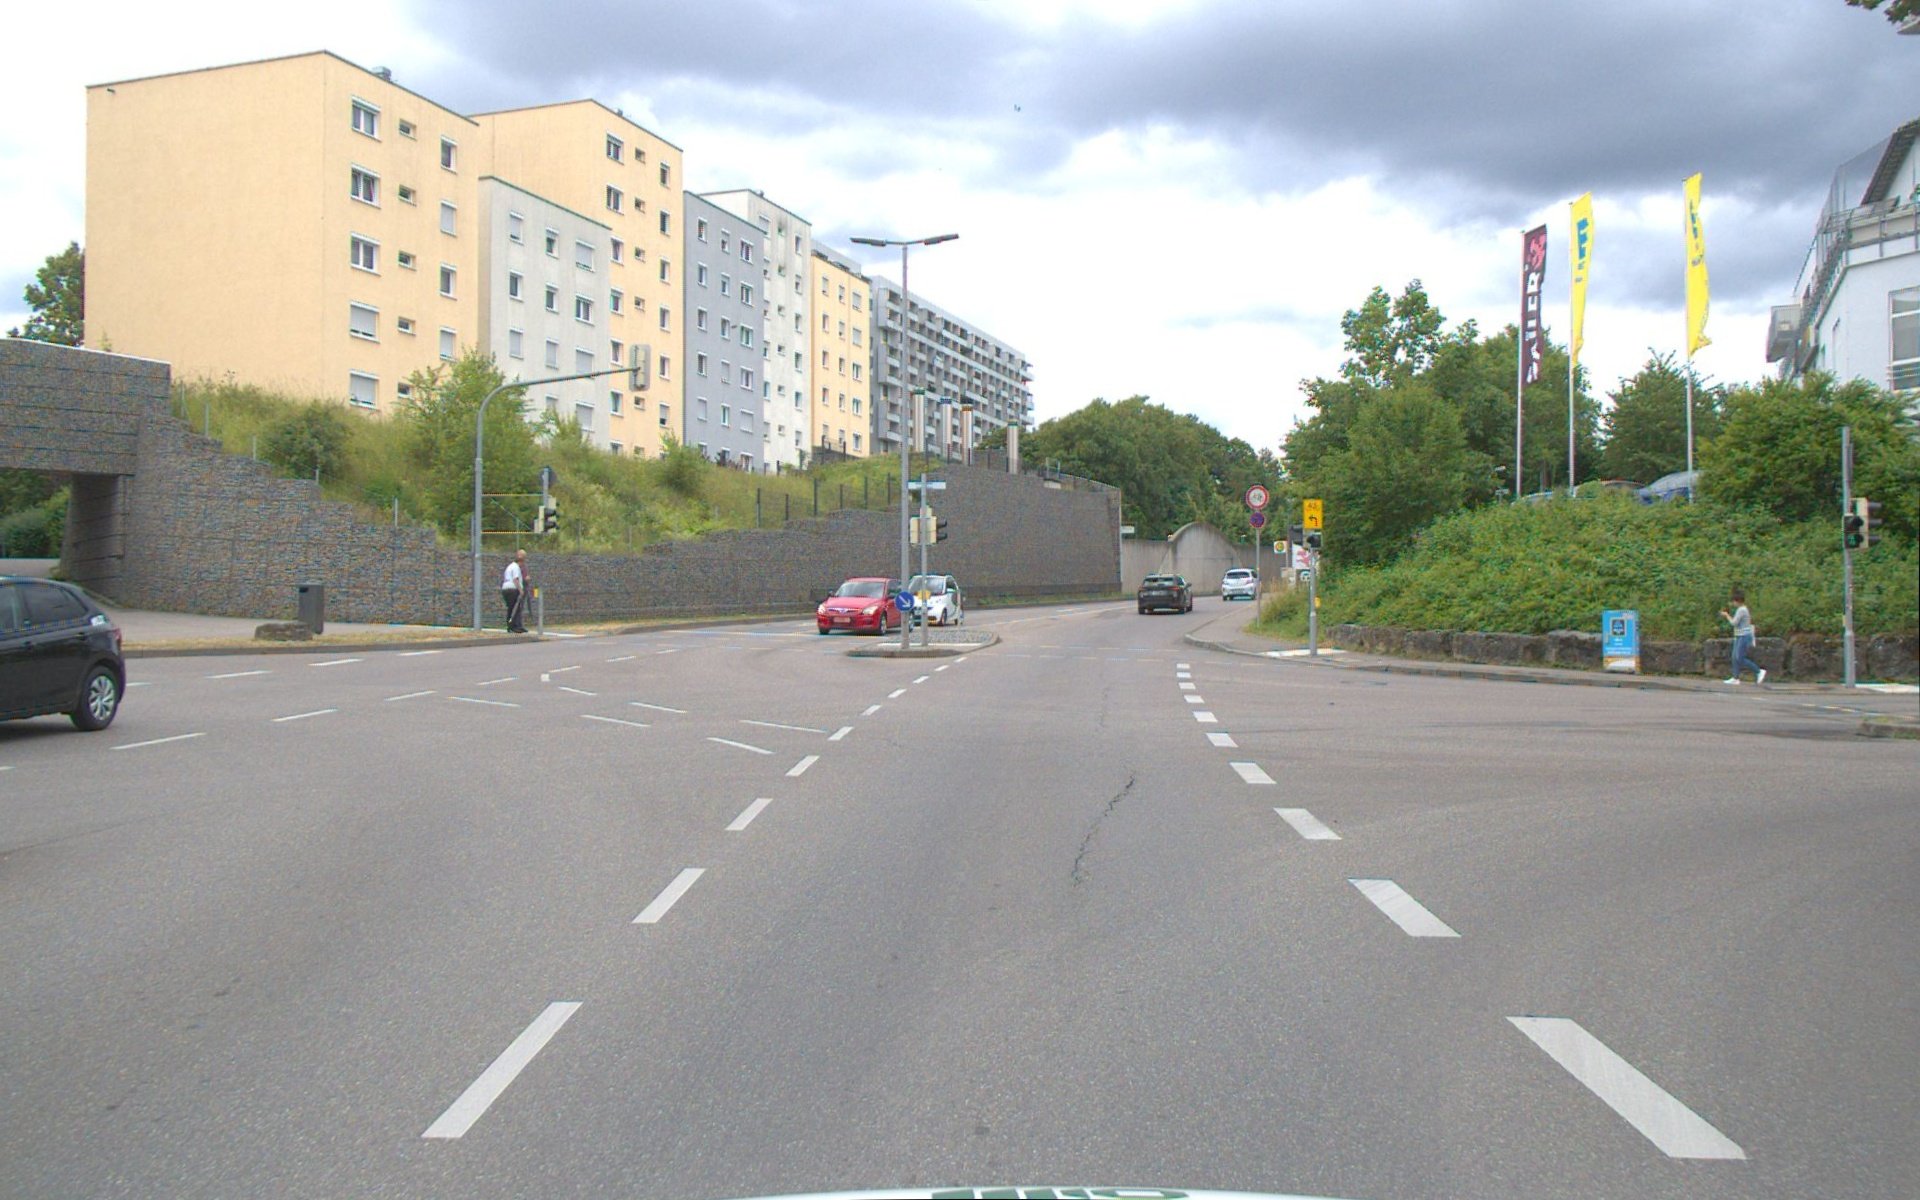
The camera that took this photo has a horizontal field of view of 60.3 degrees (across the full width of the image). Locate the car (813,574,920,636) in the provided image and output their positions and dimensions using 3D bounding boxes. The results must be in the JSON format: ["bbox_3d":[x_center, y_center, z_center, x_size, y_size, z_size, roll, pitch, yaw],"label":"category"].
[{"bbox_3d":[-2.453,0.139,44.436,1.717,1.550,4.096,1,0,14],"label":"car"}]

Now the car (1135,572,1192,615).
[{"bbox_3d":[7.768,-0.220,62.834,1.717,1.550,4.040,1,0,13],"label":"car"}]

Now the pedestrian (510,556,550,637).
[{"bbox_3d":[-10.014,-0.083,38.530,0.609,1.859,0.666,1,0,13],"label":"pedestrian"}]

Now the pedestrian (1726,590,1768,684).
[{"bbox_3d":[13.929,0.644,29.281,0.609,1.636,0.580,1,0,22],"label":"pedestrian"}]

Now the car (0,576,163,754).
[{"bbox_3d":[-8.986,0.544,14.513,1.717,1.480,4.071,1,1,5],"label":"car"}]

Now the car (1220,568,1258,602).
[{"bbox_3d":[13.721,-0.707,81.131,1.717,1.550,4.040,1,0,11],"label":"car"}]

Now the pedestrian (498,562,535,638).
[{"bbox_3d":[-10.124,-0.010,37.793,0.609,1.708,0.666,1,0,2],"label":"pedestrian"}]

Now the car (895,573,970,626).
[{"bbox_3d":[-0.818,-0.008,50.802,1.511,1.550,2.916,1,0,16],"label":"car"}]

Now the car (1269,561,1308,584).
[{"bbox_3d":[21.845,-1.805,110.016,1.828,1.516,4.257,1,1,21],"label":"car"}]
